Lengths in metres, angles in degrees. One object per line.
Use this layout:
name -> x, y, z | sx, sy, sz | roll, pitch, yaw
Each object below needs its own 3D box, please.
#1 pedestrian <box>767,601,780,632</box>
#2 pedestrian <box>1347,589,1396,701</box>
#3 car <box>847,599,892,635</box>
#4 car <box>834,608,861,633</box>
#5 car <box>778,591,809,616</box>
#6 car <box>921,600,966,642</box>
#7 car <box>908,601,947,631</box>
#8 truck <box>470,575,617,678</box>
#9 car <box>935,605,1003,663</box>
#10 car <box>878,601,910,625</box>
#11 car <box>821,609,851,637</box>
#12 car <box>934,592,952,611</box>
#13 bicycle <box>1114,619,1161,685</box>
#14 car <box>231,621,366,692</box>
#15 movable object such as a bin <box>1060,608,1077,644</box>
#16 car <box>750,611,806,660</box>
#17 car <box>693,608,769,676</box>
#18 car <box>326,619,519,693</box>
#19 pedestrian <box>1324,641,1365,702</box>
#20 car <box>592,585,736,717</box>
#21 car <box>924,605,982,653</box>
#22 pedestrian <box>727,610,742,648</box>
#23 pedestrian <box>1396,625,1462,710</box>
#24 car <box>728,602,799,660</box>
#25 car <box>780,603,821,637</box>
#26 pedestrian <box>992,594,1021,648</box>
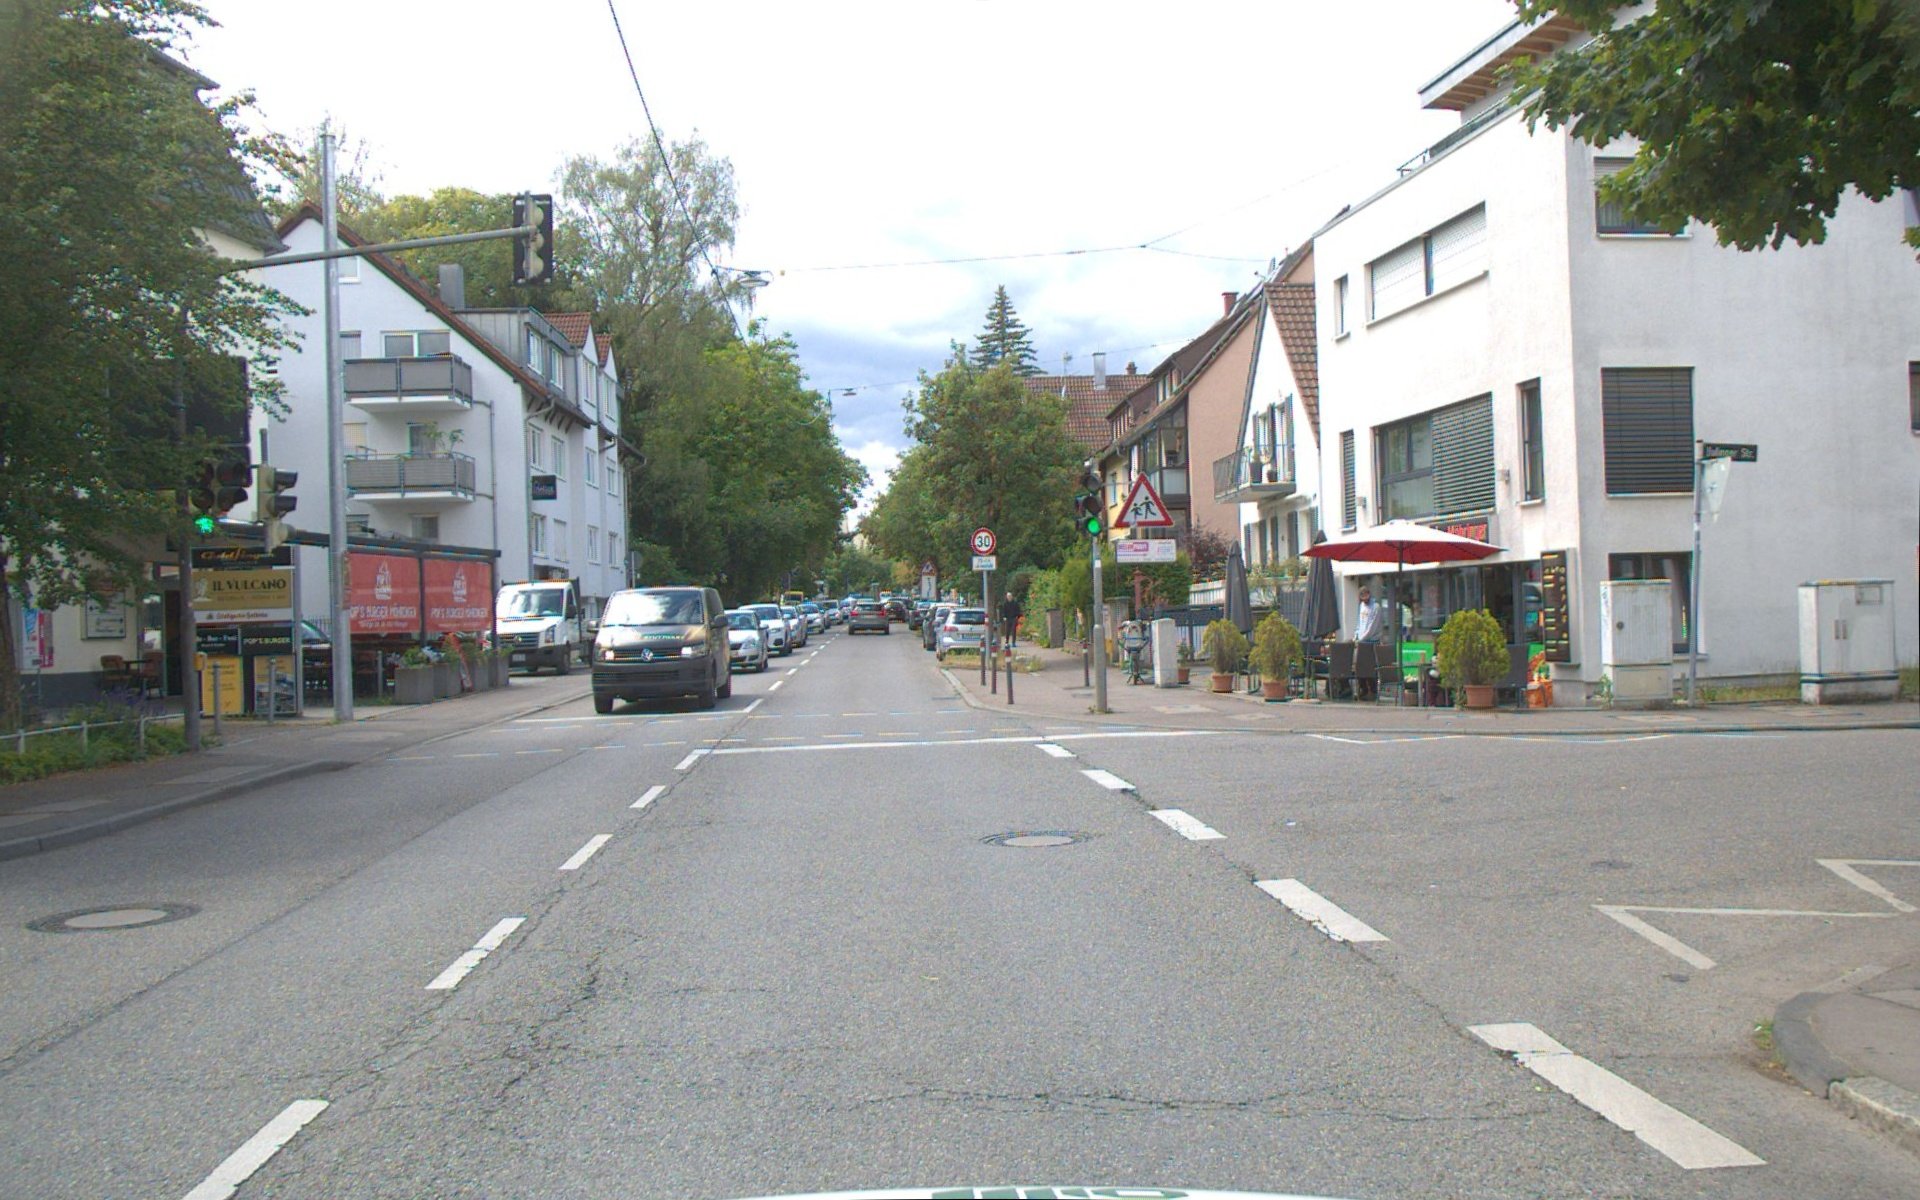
pedestrian -> -11.206, 1.001, 99.224 | 0.700, 1.793, 1.120 | -1, -1, -8
pedestrian -> 6.662, 0.723, 26.794 | 0.422, 1.793, 0.671 | -1, -1, -24
car -> -4.080, 0.761, 75.094 | 1.936, 1.539, 4.265 | 2, 0, -2
car -> -8.179, 1.470, 120.236 | 1.749, 1.619, 4.152 | -3, 0, -2
car -> -14.016, 0.345, 139.253 | 2.102, 2.015, 4.930 | -2, -1, 0
car -> -0.689, 0.818, 66.264 | 1.589, 1.534, 3.777 | -2, 0, -3
car -> -1.708, 0.797, 85.101 | 1.766, 1.470, 4.883 | 0, 0, -4
truck -> -10.664, 0.671, 42.924 | 2.179, 2.421, 6.325 | -1, -1, 0
car -> 0.196, 0.904, 46.465 | 1.667, 1.506, 4.869 | 0, 0, -3
car -> -4.468, 0.872, 111.766 | 1.778, 1.527, 4.268 | -1, 0, 3
car -> -8.126, 1.486, 108.644 | 1.750, 1.676, 4.488 | -4, 0, -2
car -> -1.938, 0.222, 185.132 | 1.953, 2.049, 3.999 | -1, -1, -1
bicycle -> 3.317, 0.959, 31.047 | 0.705, 1.170, 2.214 | -2, -1, 2
car -> -14.952, 1.281, 37.370 | 2.790, 1.496, 1.561 | -3, -1, 36
movable object such as a bin -> 3.412, 0.822, 51.967 | 0.512, 1.099, 0.604 | -1, -1, 3
car -> -6.489, 1.230, 59.207 | 1.694, 1.528, 4.373 | -4, 0, -4
car -> -5.467, 0.974, 39.836 | 1.586, 1.512, 3.809 | -2, 0, -5
car -> -11.476, 1.180, 35.498 | 3.622, 1.450, 1.802 | -1, 0, -7
pedestrian -> 6.222, 1.154, 26.765 | 0.413, 0.954, 0.494 | -1, -1, -24
car -> -4.765, 0.770, 27.227 | 1.840, 1.946, 4.747 | -1, 0, -5
car -> -0.290, 0.926, 54.967 | 1.699, 1.454, 4.880 | 1, 0, -3
pedestrian -> -10.140, 1.297, 74.465 | 0.640, 1.696, 0.930 | -1, -1, -8
pedestrian -> 6.330, 0.902, 22.332 | 0.560, 1.108, 0.628 | -1, -1, -28
car -> -5.988, 0.906, 50.729 | 1.770, 1.598, 4.156 | -4, 0, -3
car -> -7.719, 0.974, 80.444 | 1.725, 1.464, 3.968 | -4, 1, -3
pedestrian -> 1.532, 0.688, 54.216 | 0.862, 1.742, 0.842 | -1, -1, -2
